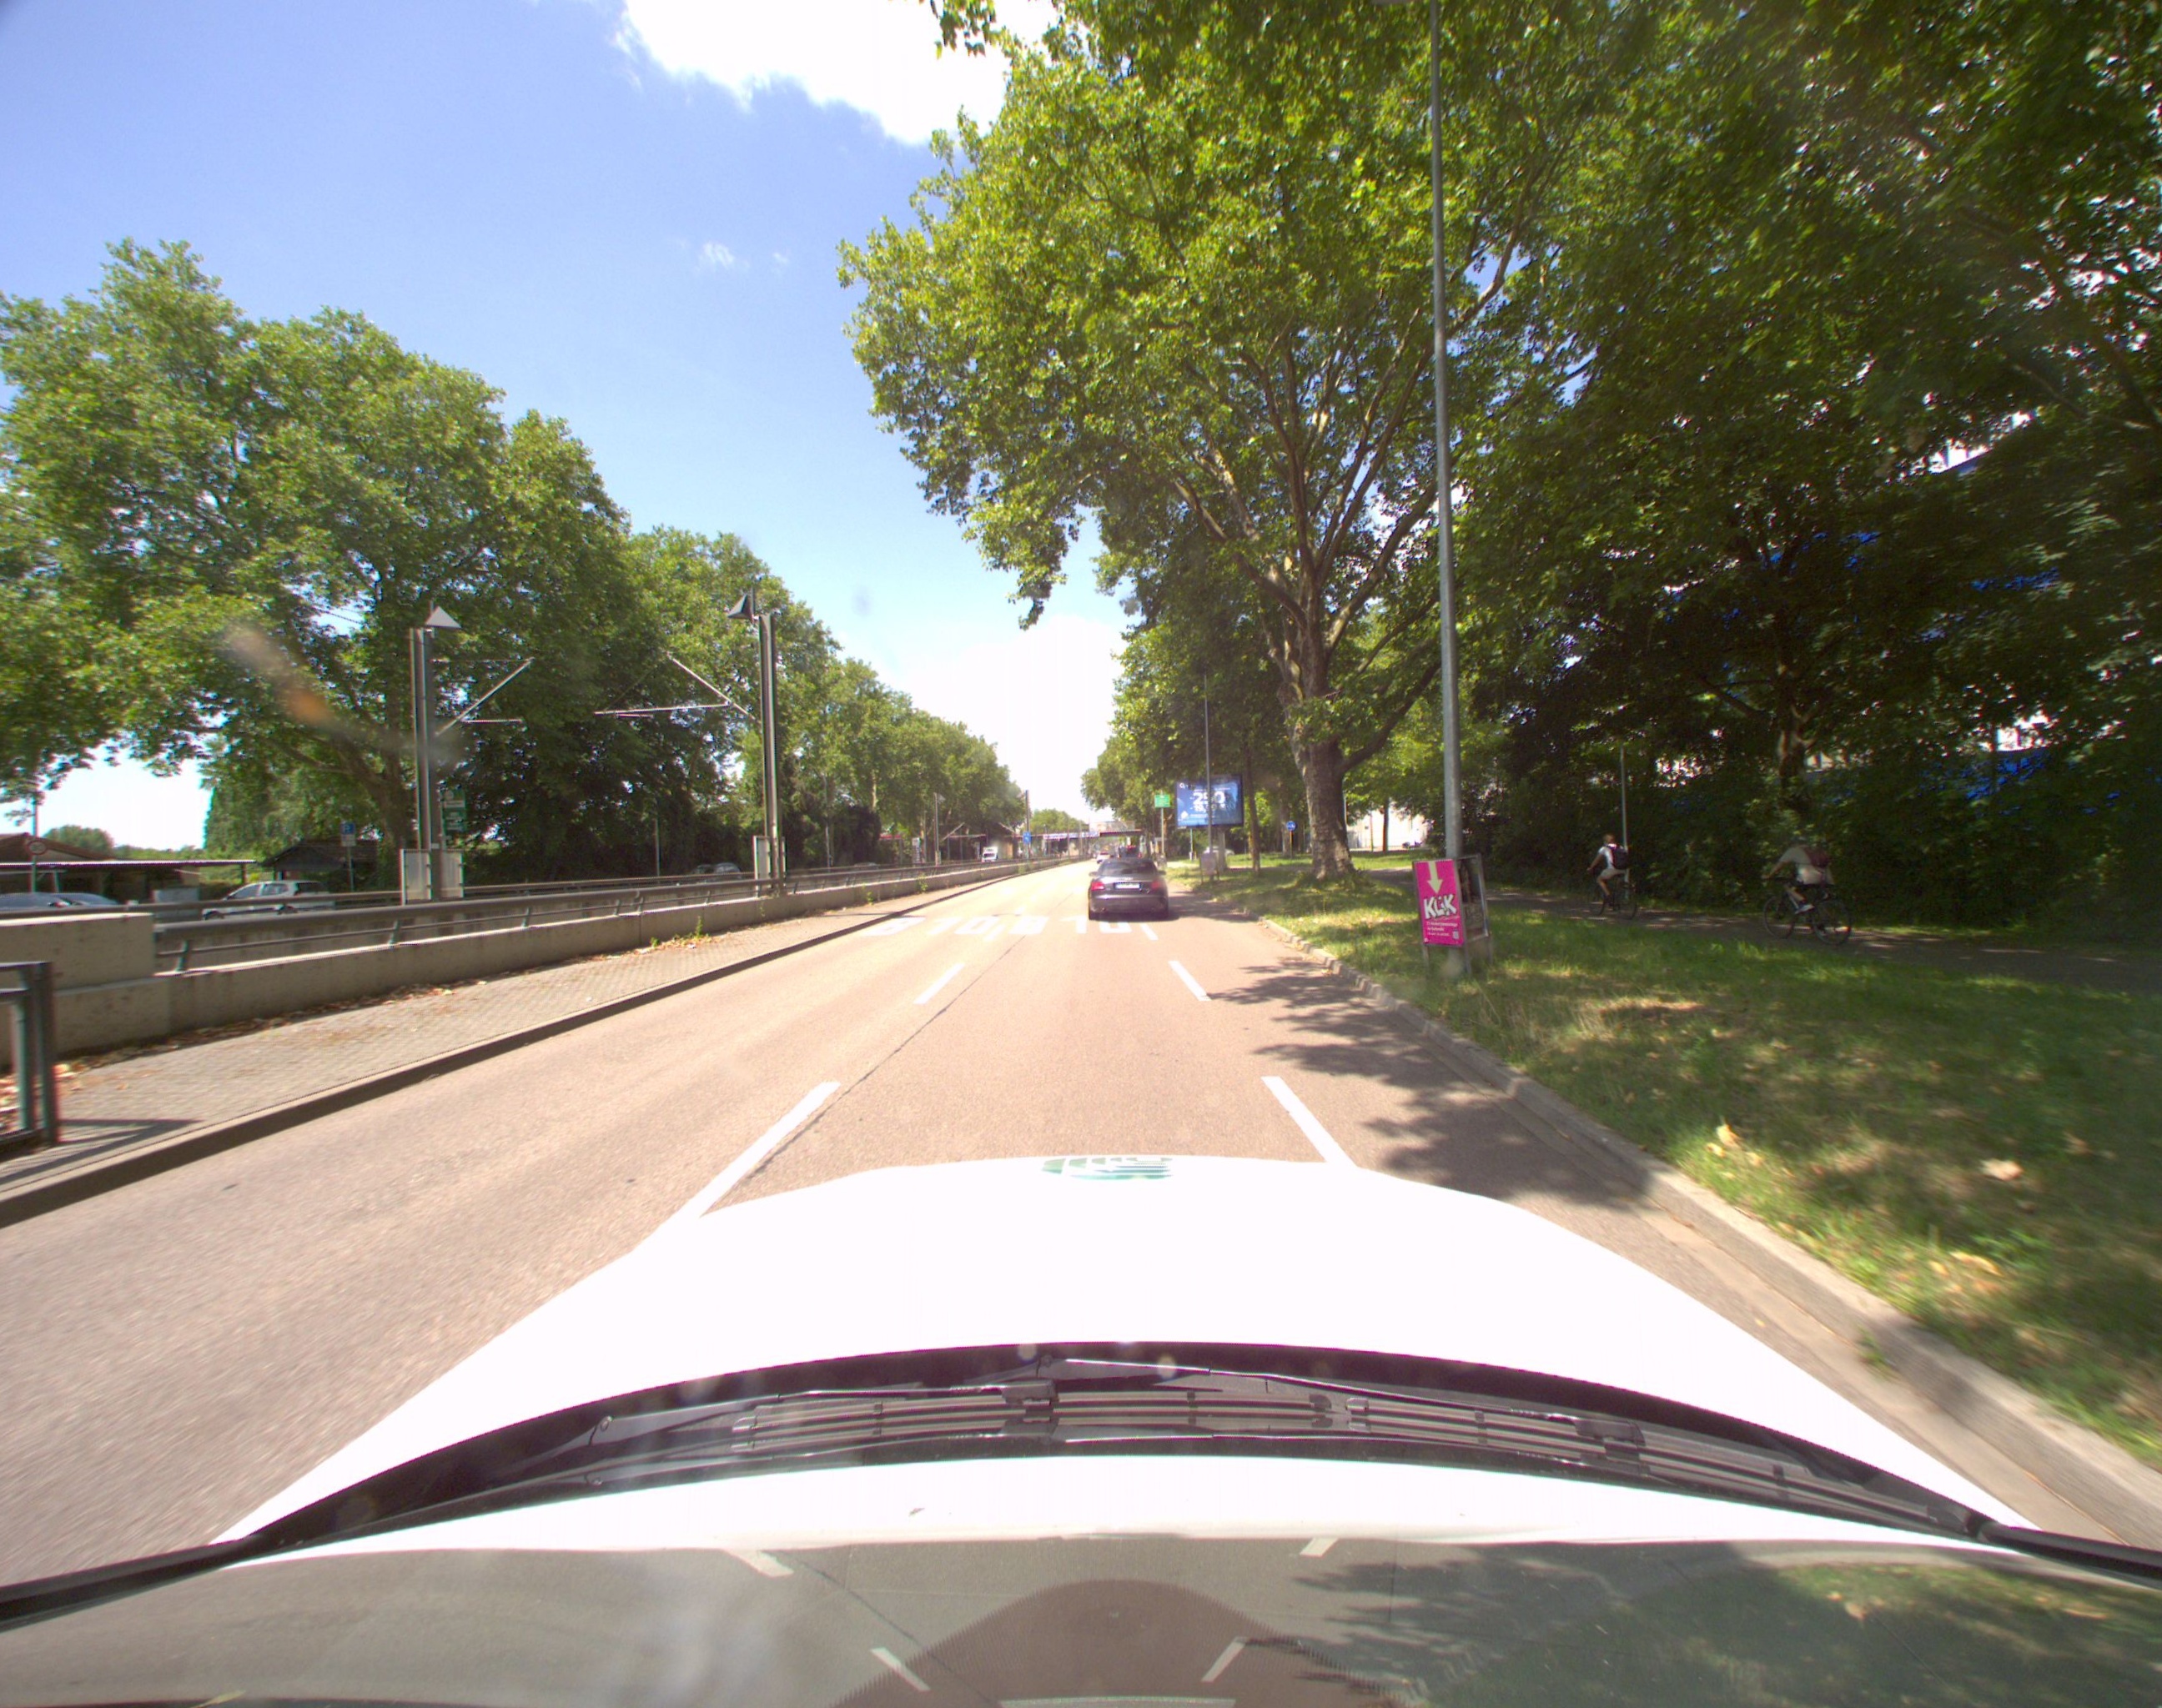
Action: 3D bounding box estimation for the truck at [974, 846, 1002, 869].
[{"bbox_3d":[-13.019,0.486,114.509,2.982,3.020,7.996,-2,0,-1],"label":"truck"}]

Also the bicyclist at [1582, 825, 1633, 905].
[{"bbox_3d":[11.808,0.240,18.280,0.595,1.746,0.844,-1,0,3],"label":"bicyclist"}]

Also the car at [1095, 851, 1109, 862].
[{"bbox_3d":[2.891,0.353,111.510,1.839,1.464,4.001,-2,0,1],"label":"car"}]

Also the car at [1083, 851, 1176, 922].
[{"bbox_3d":[1.045,0.702,19.546,1.837,1.484,3.997,-2,0,-2],"label":"car"}]

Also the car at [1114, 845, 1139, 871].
[{"bbox_3d":[3.661,0.321,64.550,1.840,1.959,4.150,-1,0,5],"label":"car"}]

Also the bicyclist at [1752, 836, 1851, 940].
[{"bbox_3d":[11.658,0.526,13.213,0.655,1.599,1.054,-2,0,3],"label":"bicyclist"}]

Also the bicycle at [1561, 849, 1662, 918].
[{"bbox_3d":[11.845,0.617,18.311,0.608,1.420,2.663,-2,0,3],"label":"bicycle"}]

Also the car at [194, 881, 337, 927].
[{"bbox_3d":[-29.715,1.805,29.773,3.315,1.475,1.649,-2,0,-9],"label":"car"}]

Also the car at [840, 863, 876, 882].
[{"bbox_3d":[-18.840,1.574,69.083,1.839,1.464,4.001,-2,0,1],"label":"car"}]

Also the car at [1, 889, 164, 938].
[{"bbox_3d":[-34.898,2.064,28.563,3.315,1.475,1.649,-2,0,-9],"label":"car"}]

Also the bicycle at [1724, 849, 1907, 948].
[{"bbox_3d":[11.668,0.640,13.107,0.608,1.420,2.663,-2,0,3],"label":"bicycle"}]

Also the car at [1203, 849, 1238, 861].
[{"bbox_3d":[17.252,0.102,100.654,3.981,1.409,1.796,-2,0,-6],"label":"car"}]

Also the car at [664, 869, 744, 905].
[{"bbox_3d":[-20.022,1.712,43.487,1.859,1.684,4.390,-2,0,5],"label":"car"}]
